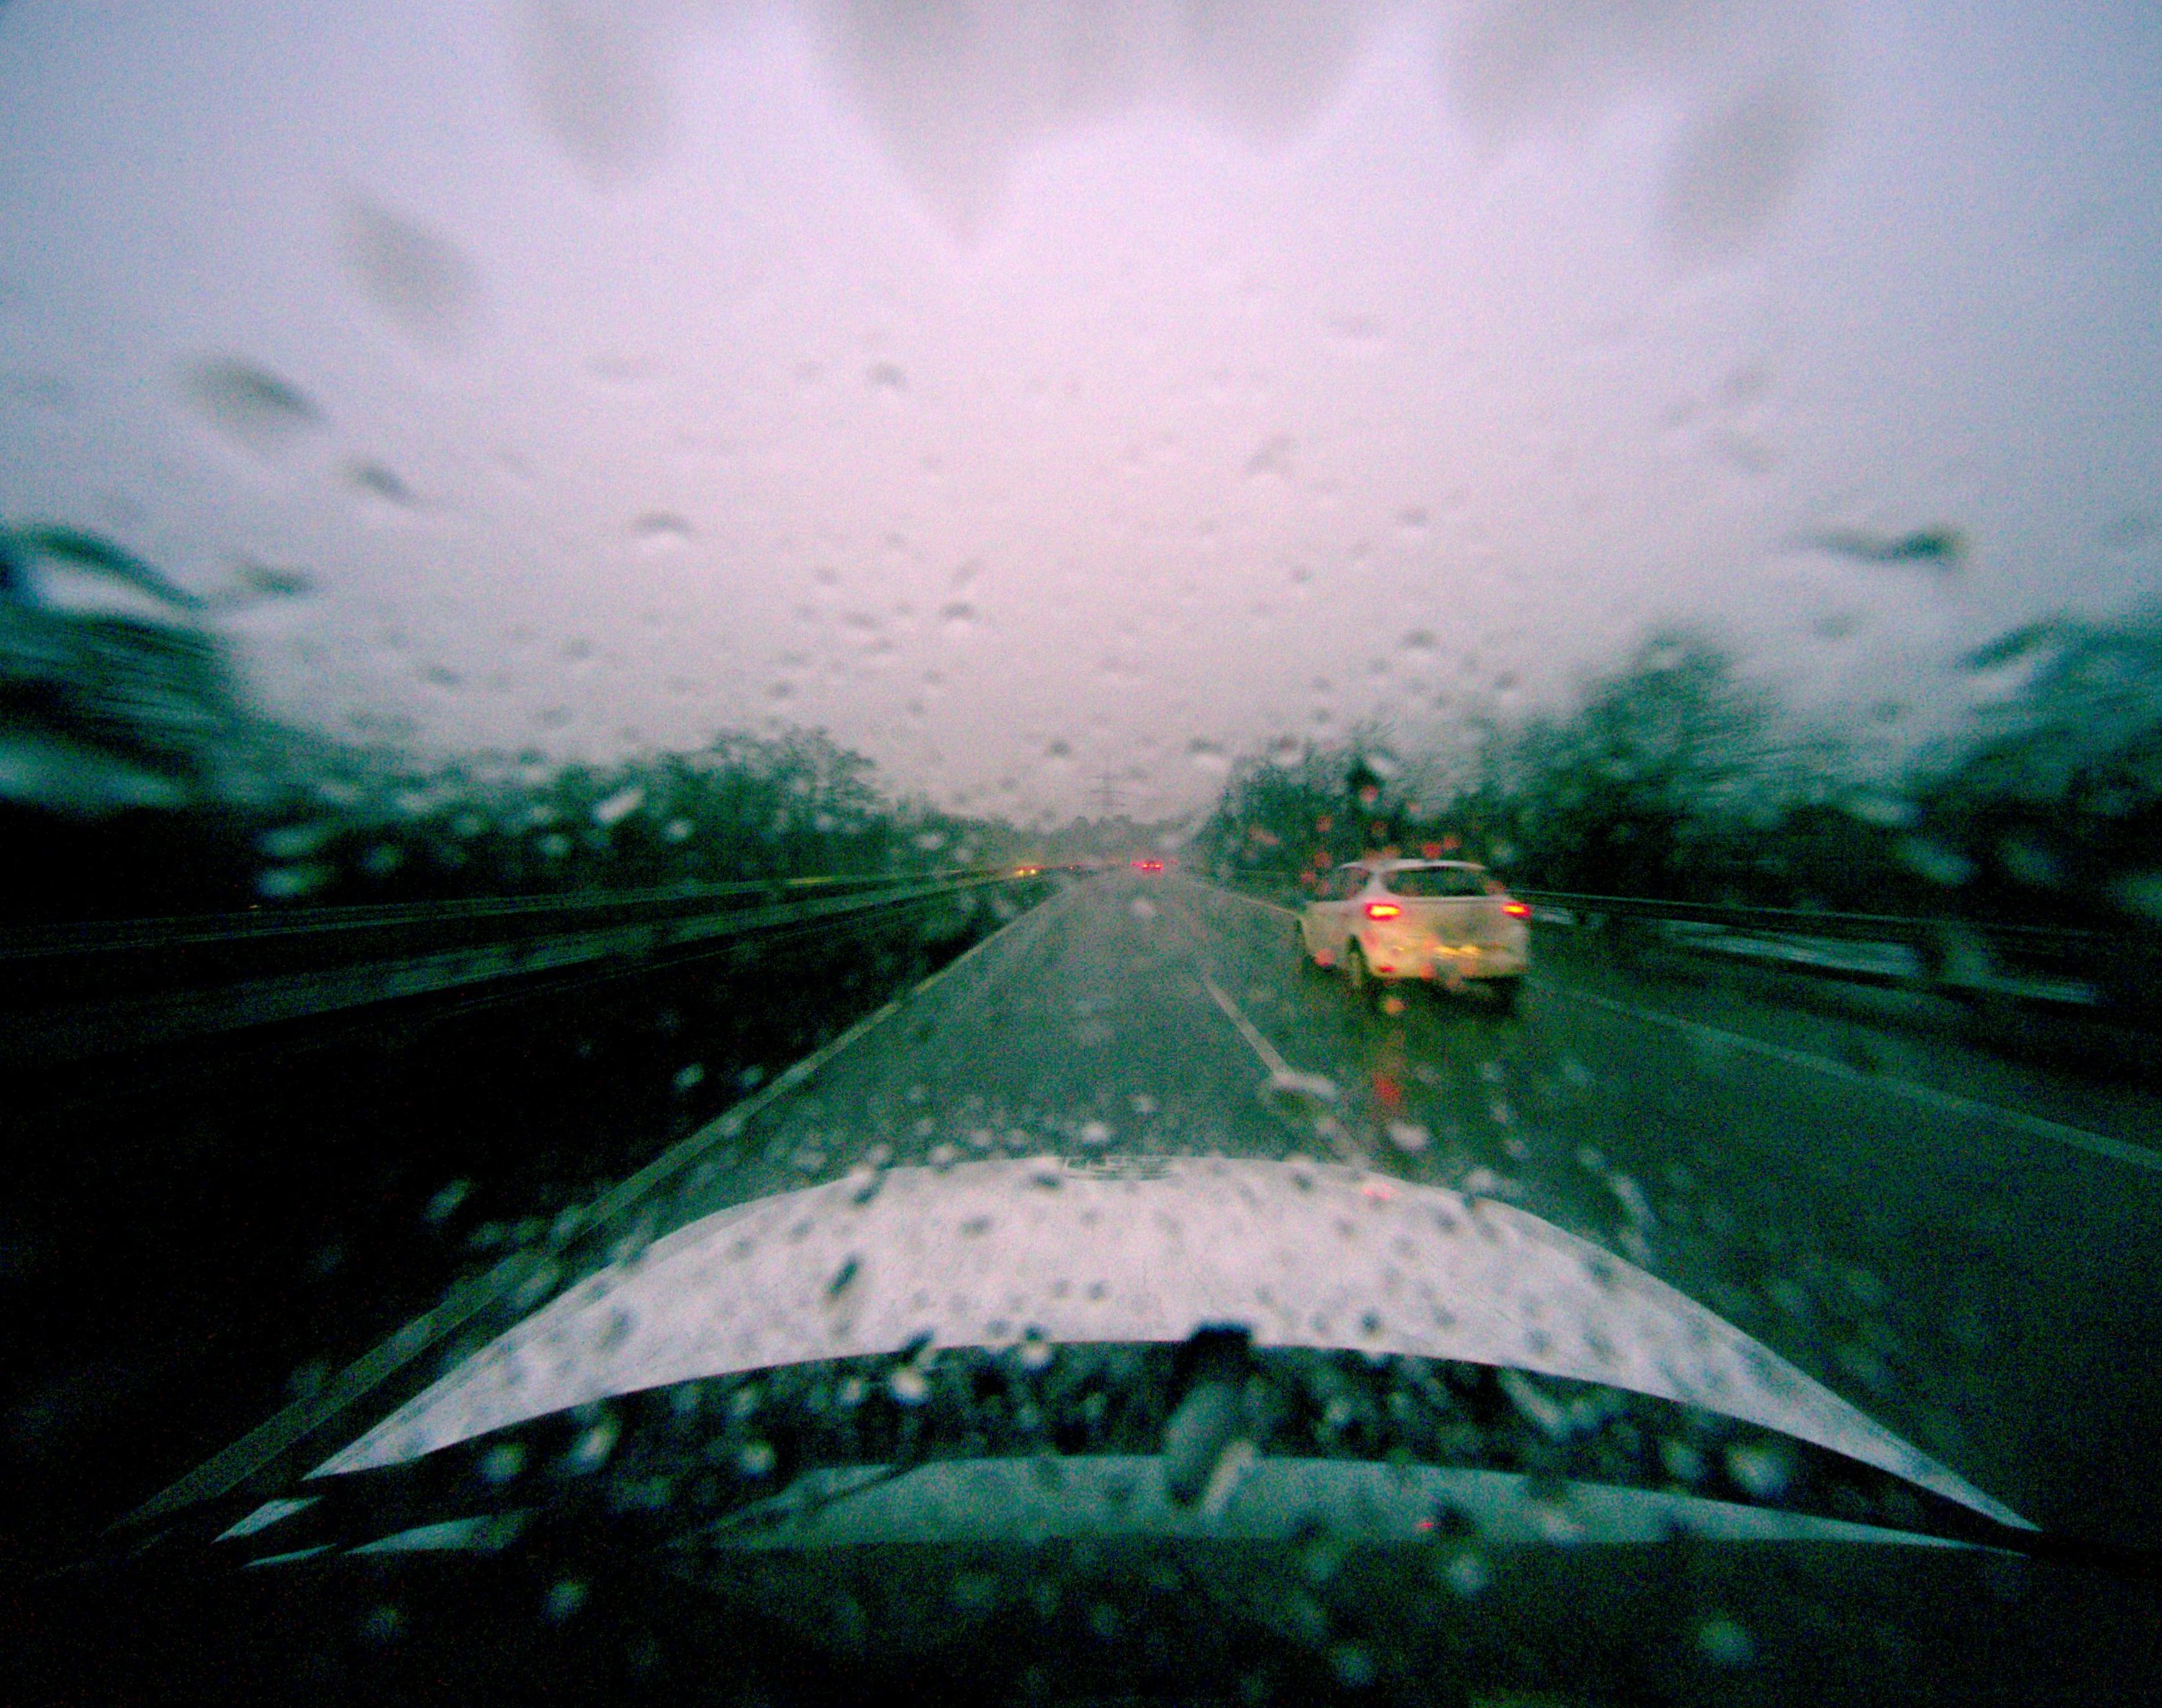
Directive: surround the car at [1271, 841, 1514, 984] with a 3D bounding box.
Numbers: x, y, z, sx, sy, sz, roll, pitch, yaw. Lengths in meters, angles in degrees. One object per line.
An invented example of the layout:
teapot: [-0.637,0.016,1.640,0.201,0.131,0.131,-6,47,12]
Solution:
car: [3.869,0.642,10.912,1.791,1.503,4.001,-2,0,2]
